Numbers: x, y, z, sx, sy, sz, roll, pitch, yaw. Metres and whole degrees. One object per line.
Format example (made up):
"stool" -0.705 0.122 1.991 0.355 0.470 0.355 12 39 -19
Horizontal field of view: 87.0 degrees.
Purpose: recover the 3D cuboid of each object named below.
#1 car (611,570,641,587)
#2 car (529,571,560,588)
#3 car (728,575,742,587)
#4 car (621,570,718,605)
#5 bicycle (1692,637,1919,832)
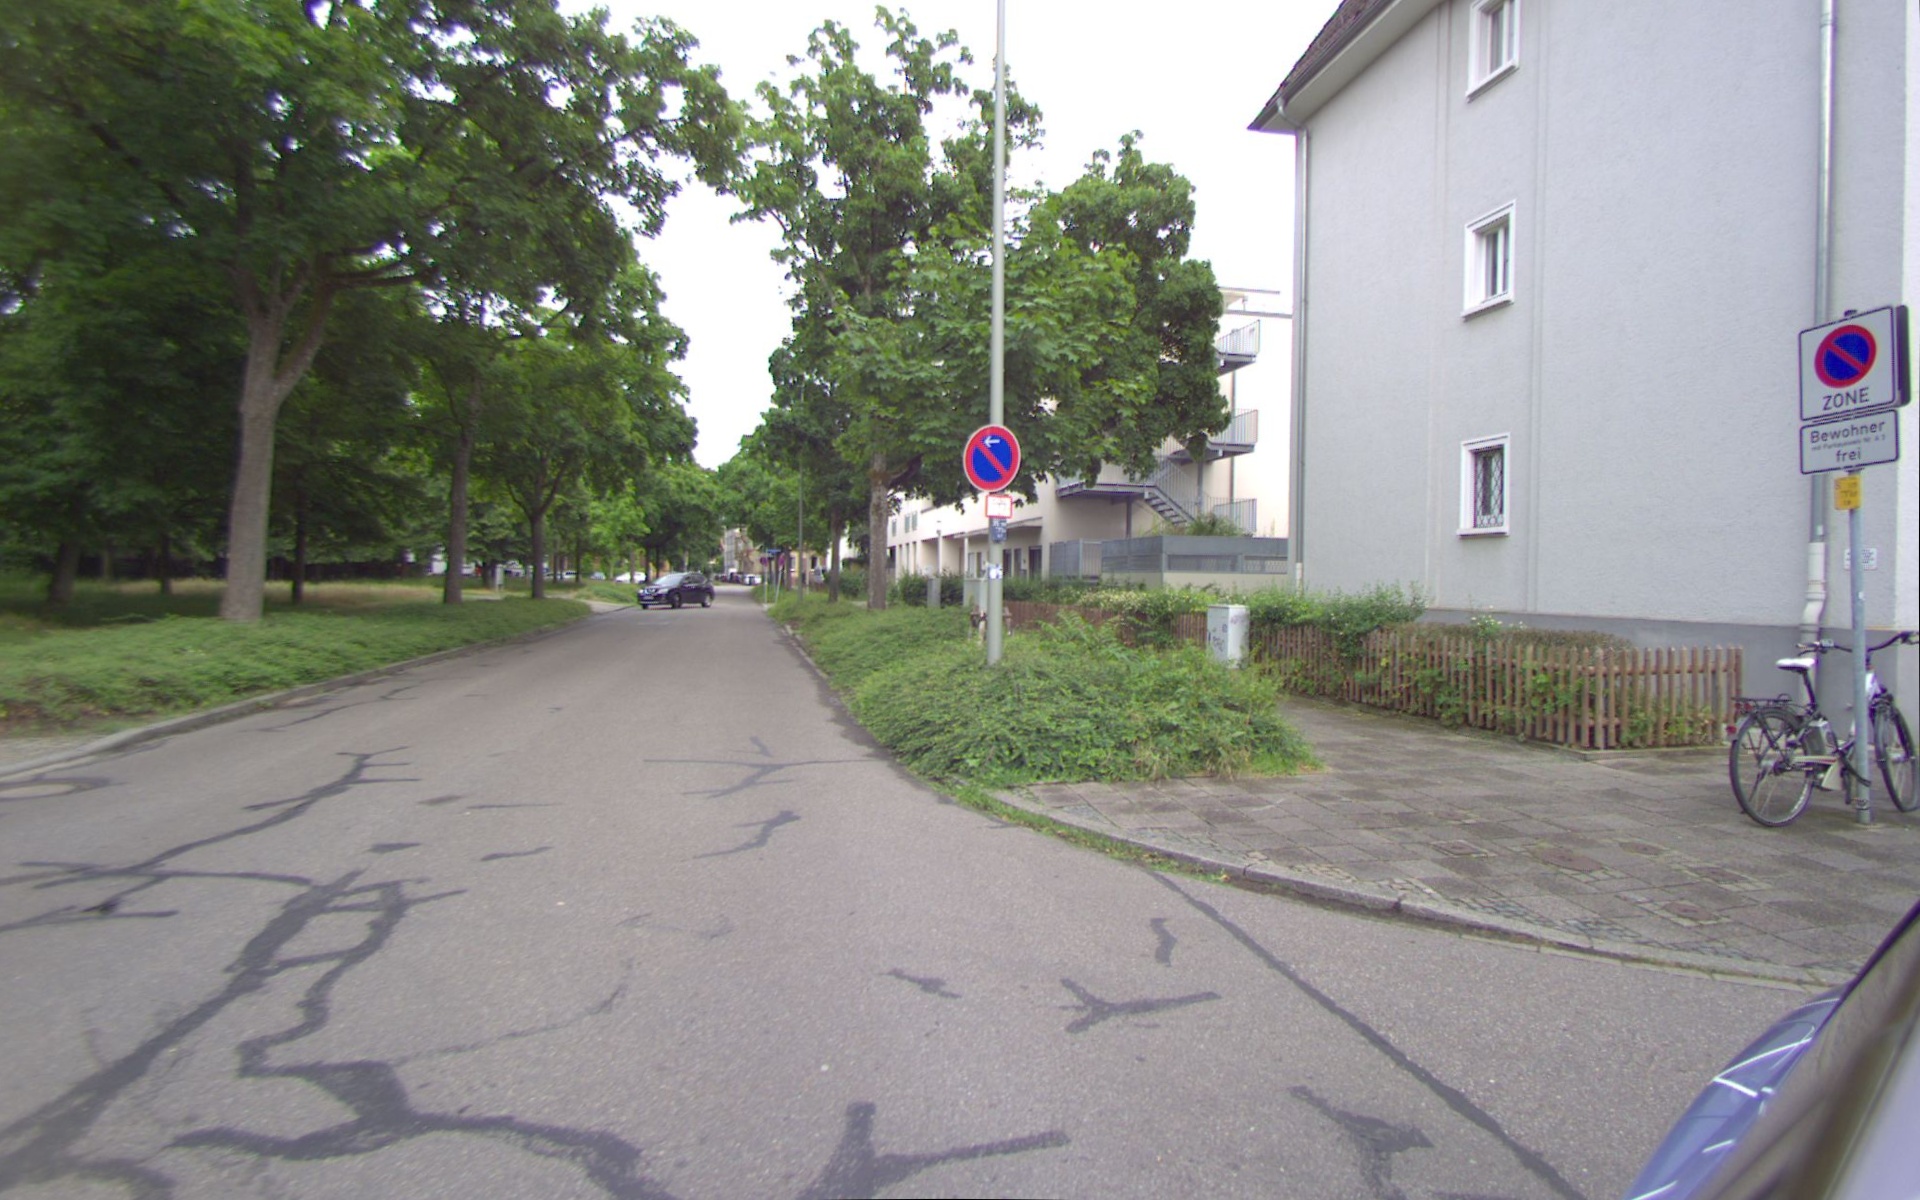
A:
"car" -39.452 -2.500 119.553 3.244 1.948 1.815 -1 1 -20
"car" -47.900 -2.409 116.833 3.244 1.948 1.815 -1 1 -20
"car" -36.064 -3.064 162.277 1.747 1.786 3.670 1 1 -18
"car" -13.384 -0.581 46.913 1.977 1.504 4.508 2 1 21
"bicycle" 5.544 0.781 6.193 1.850 1.016 0.570 -1 3 -10
